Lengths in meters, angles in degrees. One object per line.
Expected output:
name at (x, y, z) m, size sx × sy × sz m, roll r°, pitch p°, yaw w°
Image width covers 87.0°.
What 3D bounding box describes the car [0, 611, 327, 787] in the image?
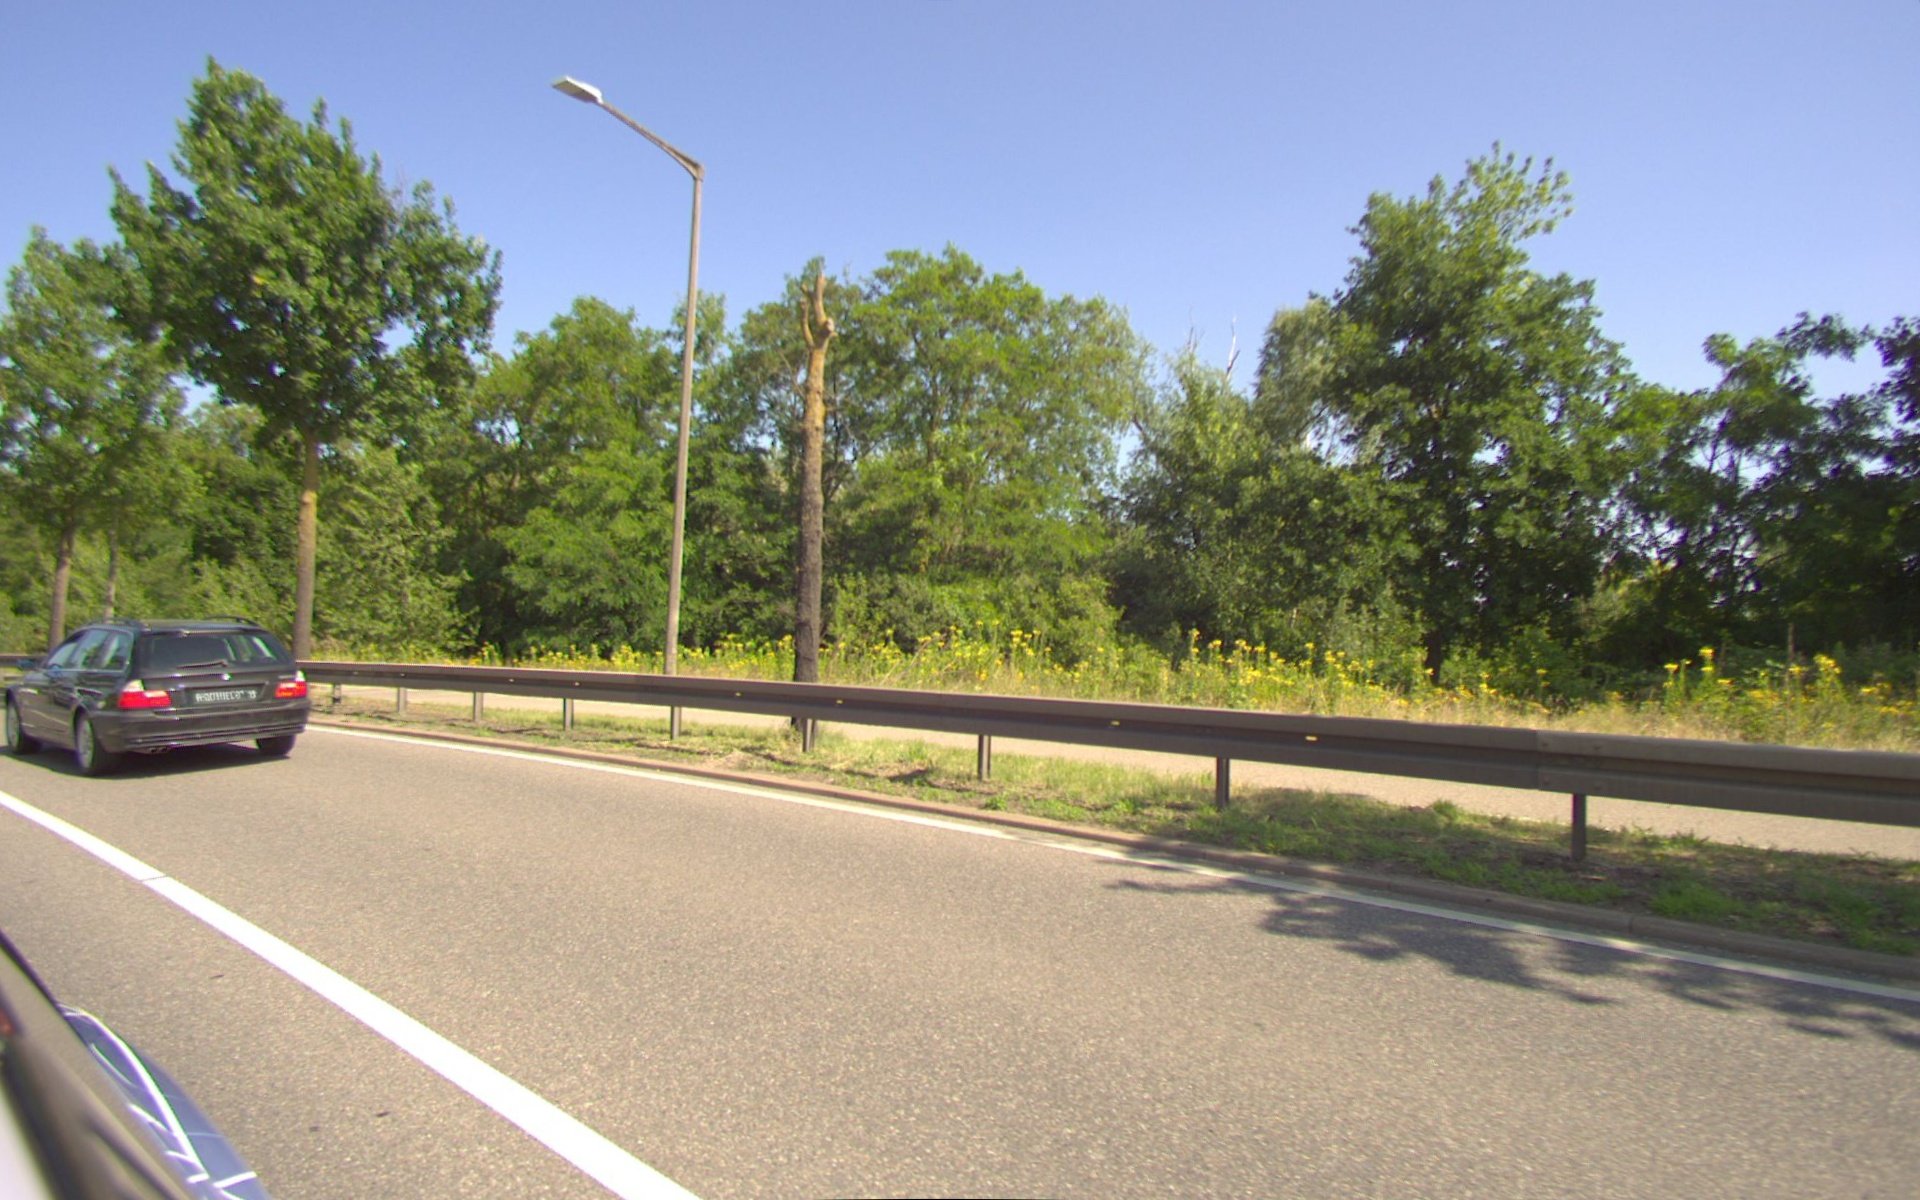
car at (-8.389, 0.869, 10.458) m, size 4.111 × 1.459 × 1.687 m, roll -1°, pitch 0°, yaw 35°
